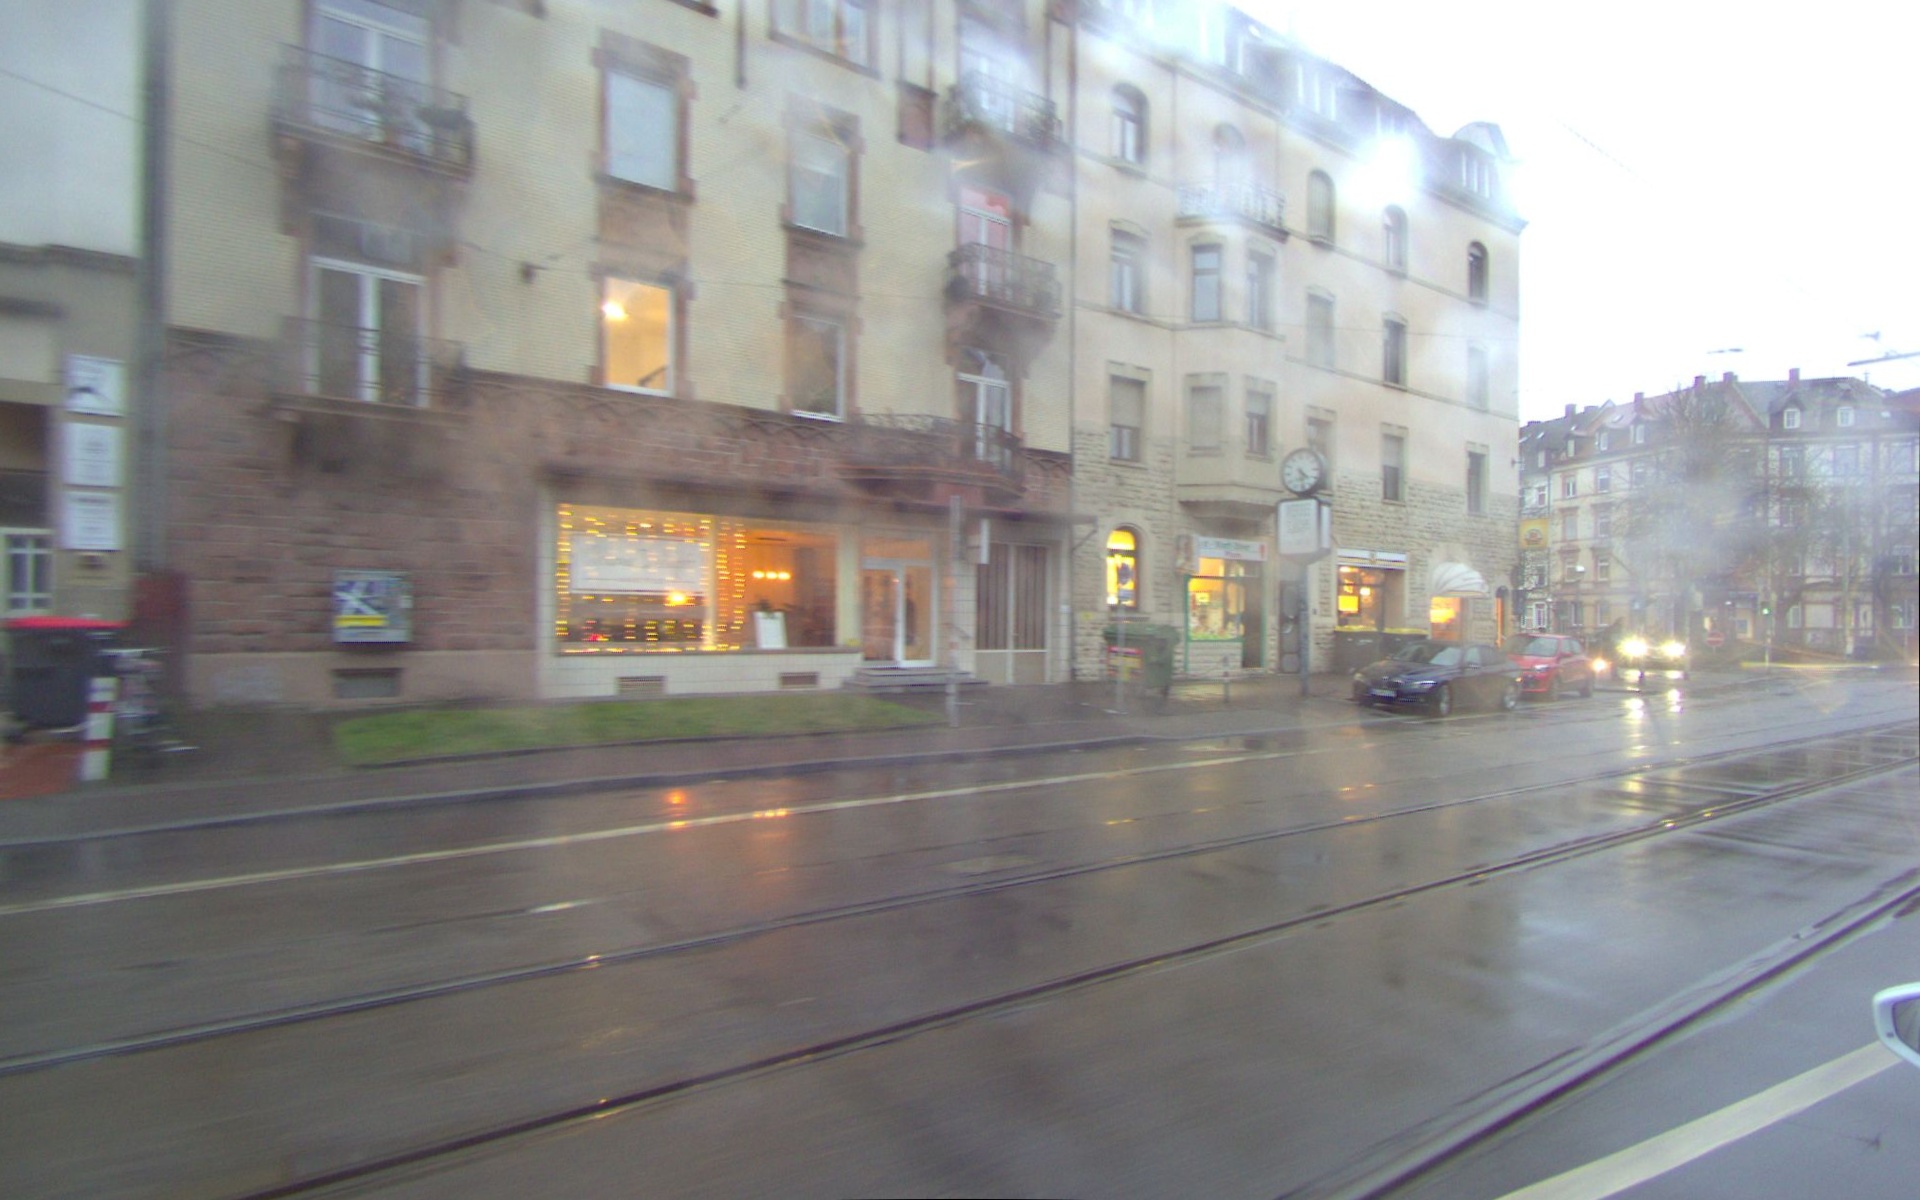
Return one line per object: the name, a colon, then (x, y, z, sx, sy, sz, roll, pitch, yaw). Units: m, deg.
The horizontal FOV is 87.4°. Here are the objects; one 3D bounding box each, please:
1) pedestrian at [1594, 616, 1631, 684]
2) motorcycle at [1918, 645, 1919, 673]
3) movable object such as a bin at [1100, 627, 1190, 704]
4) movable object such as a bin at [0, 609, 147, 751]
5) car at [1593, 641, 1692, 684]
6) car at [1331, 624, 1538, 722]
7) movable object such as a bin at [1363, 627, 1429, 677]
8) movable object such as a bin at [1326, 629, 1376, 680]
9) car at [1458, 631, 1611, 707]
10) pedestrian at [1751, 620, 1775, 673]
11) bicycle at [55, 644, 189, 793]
pedestrian: (19.761, 1.501, 30.424, 0.635, 2.040, 0.758, 1, -1, 2)
motorcycle: (35.991, 2.167, 37.107, 0.847, 1.005, 1.907, -1, -2, 45)
movable object such as a bin: (3.663, 1.273, 19.969, 1.237, 1.439, 1.260, 1, -1, -34)
movable object such as a bin: (-9.693, 0.833, 10.952, 1.155, 1.398, 1.096, 1, 1, -33)
car: (29.631, 2.658, 43.751, 1.981, 1.695, 4.003, 0, -1, 8)
car: (10.029, 1.472, 21.103, 4.589, 1.667, 1.971, 2, 3, -38)
movable object such as a bin: (12.388, 1.457, 28.558, 1.240, 1.385, 1.285, 1, -1, -35)
movable object such as a bin: (10.963, 1.520, 28.159, 0.996, 1.396, 0.893, 1, -1, -34)
car: (14.357, 1.634, 25.037, 3.998, 1.573, 2.020, 1, 2, -40)
pedestrian: (31.366, 1.807, 39.238, 0.695, 2.040, 0.658, 0, -1, 36)
bicycle: (-7.978, 1.051, 9.657, 0.688, 1.120, 2.335, 1, 1, -33)
